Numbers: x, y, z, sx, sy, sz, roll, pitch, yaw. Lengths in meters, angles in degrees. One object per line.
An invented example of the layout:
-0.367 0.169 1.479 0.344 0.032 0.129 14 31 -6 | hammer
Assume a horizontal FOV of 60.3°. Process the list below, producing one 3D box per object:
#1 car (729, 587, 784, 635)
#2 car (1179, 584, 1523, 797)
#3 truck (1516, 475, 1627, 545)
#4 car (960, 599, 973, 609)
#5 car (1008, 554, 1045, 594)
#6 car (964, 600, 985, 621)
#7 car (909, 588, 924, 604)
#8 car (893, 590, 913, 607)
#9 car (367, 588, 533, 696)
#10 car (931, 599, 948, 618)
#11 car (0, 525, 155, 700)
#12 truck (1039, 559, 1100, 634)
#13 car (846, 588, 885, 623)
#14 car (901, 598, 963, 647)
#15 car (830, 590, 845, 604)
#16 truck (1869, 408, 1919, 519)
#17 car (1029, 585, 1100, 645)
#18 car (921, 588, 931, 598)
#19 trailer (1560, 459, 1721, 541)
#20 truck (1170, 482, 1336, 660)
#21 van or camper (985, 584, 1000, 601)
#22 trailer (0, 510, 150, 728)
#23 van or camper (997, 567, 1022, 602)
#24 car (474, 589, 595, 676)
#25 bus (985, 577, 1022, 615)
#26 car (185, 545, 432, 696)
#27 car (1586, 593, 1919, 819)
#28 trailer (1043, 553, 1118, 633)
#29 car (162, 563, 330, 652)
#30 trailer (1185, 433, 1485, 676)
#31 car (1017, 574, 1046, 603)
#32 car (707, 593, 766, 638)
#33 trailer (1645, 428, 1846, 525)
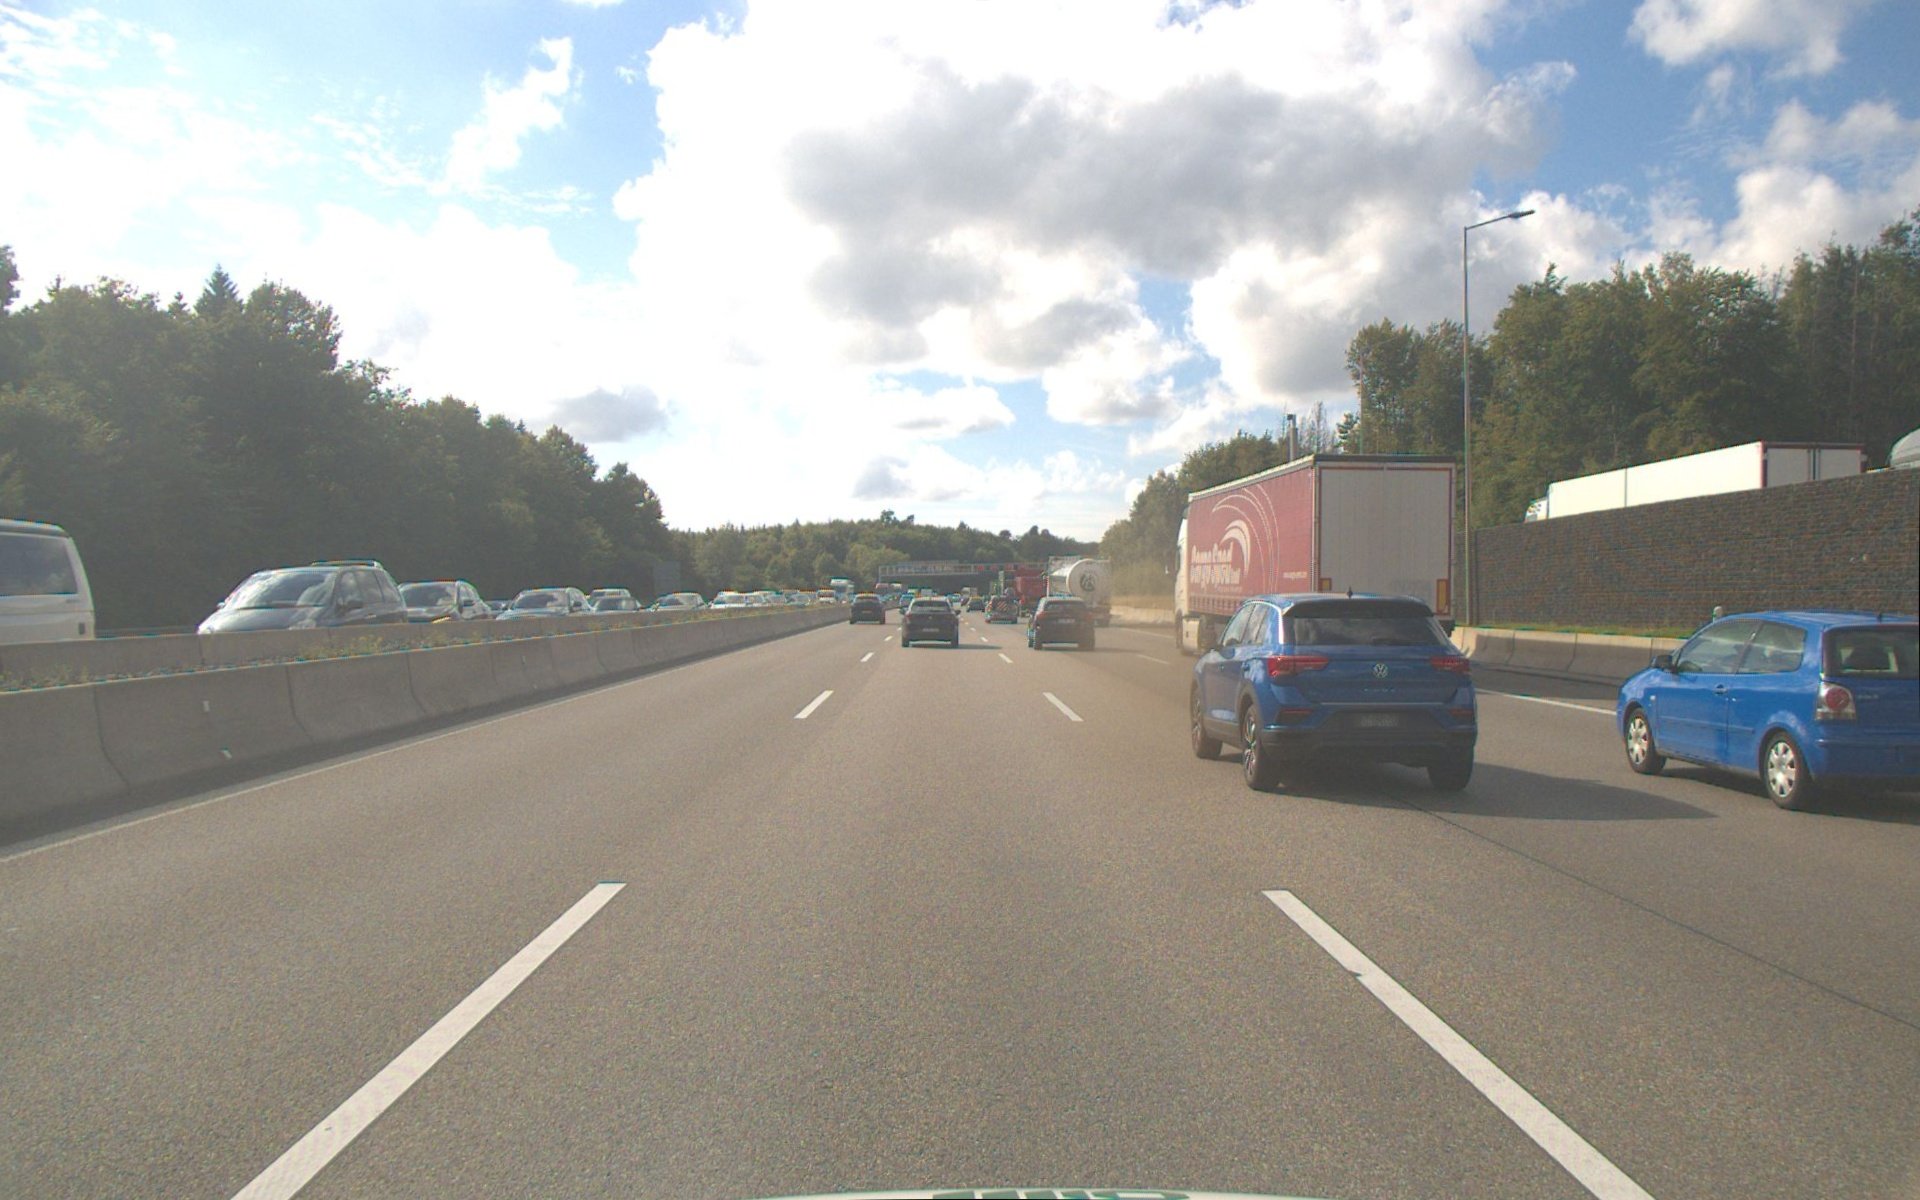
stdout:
-9.091 0.523 74.199 1.952 2.049 3.999 1 -2 0 | car
3.211 0.656 14.591 1.885 1.568 4.645 1 0 -1 | car
19.955 -2.912 54.164 2.103 2.049 3.999 -1 0 -1 | truck
1.074 0.613 259.951 1.953 1.646 3.999 0 0 -1 | car
5.483 -2.136 137.332 2.807 3.044 5.148 1 -2 0 | car
1.420 1.094 166.981 1.953 2.049 3.999 1 -1 -1 | car
-5.856 -0.529 221.874 1.954 2.049 3.997 1 0 -3 | car
-6.665 -0.161 193.405 2.111 1.807 3.999 1 -1 -1 | car
-10.390 0.878 34.058 1.952 2.049 4.547 1 -2 0 | car
-2.392 1.030 193.851 1.953 2.049 3.998 -1 -2 -1 | car
-9.719 0.076 15.196 1.953 1.600 5.329 2 0 0 | car
6.394 -0.122 97.378 2.984 4.233 7.124 0 -1 -1 | truck
-5.092 0.277 89.574 1.953 1.807 4.000 0 0 -1 | car
-0.892 0.697 50.234 1.699 1.389 3.997 1 -1 -3 | car
-18.690 -0.439 252.785 1.952 2.049 4.000 0 0 0 | car
20.078 -2.782 32.605 2.003 2.049 4.094 1 -2 -1 | truck
3.022 0.445 48.598 1.762 1.673 3.999 1 -1 -1 | car
-5.367 -1.116 261.841 1.590 1.496 3.814 2 -1 0 | car
20.038 -2.885 49.074 2.087 2.049 6.233 -1 0 -1 | trailer
7.276 -0.592 41.934 3.018 4.135 6.067 1 -2 -1 | truck
4.875 -1.137 246.005 2.041 2.536 4.224 0 0 -1 | van or camper
-13.586 0.232 21.400 2.233 2.834 8.538 1 0 -2 | trailer
4.829 -1.482 163.432 2.303 3.199 5.710 1 -2 0 | van or camper
-10.630 0.838 41.588 1.952 2.049 3.999 1 -2 0 | car
2.499 -0.200 95.743 1.953 2.049 3.999 1 -2 -1 | bus
-9.717 0.348 25.117 1.953 2.049 4.675 1 -2 -2 | car
6.803 0.729 13.446 1.680 1.538 4.300 0 0 -2 | car
6.519 -0.229 91.259 2.974 4.086 12.240 0 -1 -1 | trailer
-17.471 0.244 40.753 1.952 2.049 4.853 1 -2 0 | car
7.358 -0.582 35.157 2.976 4.106 13.885 1 -2 -1 | trailer
5.480 -0.858 127.439 1.953 2.049 3.998 1 -2 -1 | car
-10.069 0.737 74.913 1.917 1.897 4.550 1 -2 1 | car
20.171 -3.112 42.865 2.087 2.049 6.320 -1 0 -1 | trailer
